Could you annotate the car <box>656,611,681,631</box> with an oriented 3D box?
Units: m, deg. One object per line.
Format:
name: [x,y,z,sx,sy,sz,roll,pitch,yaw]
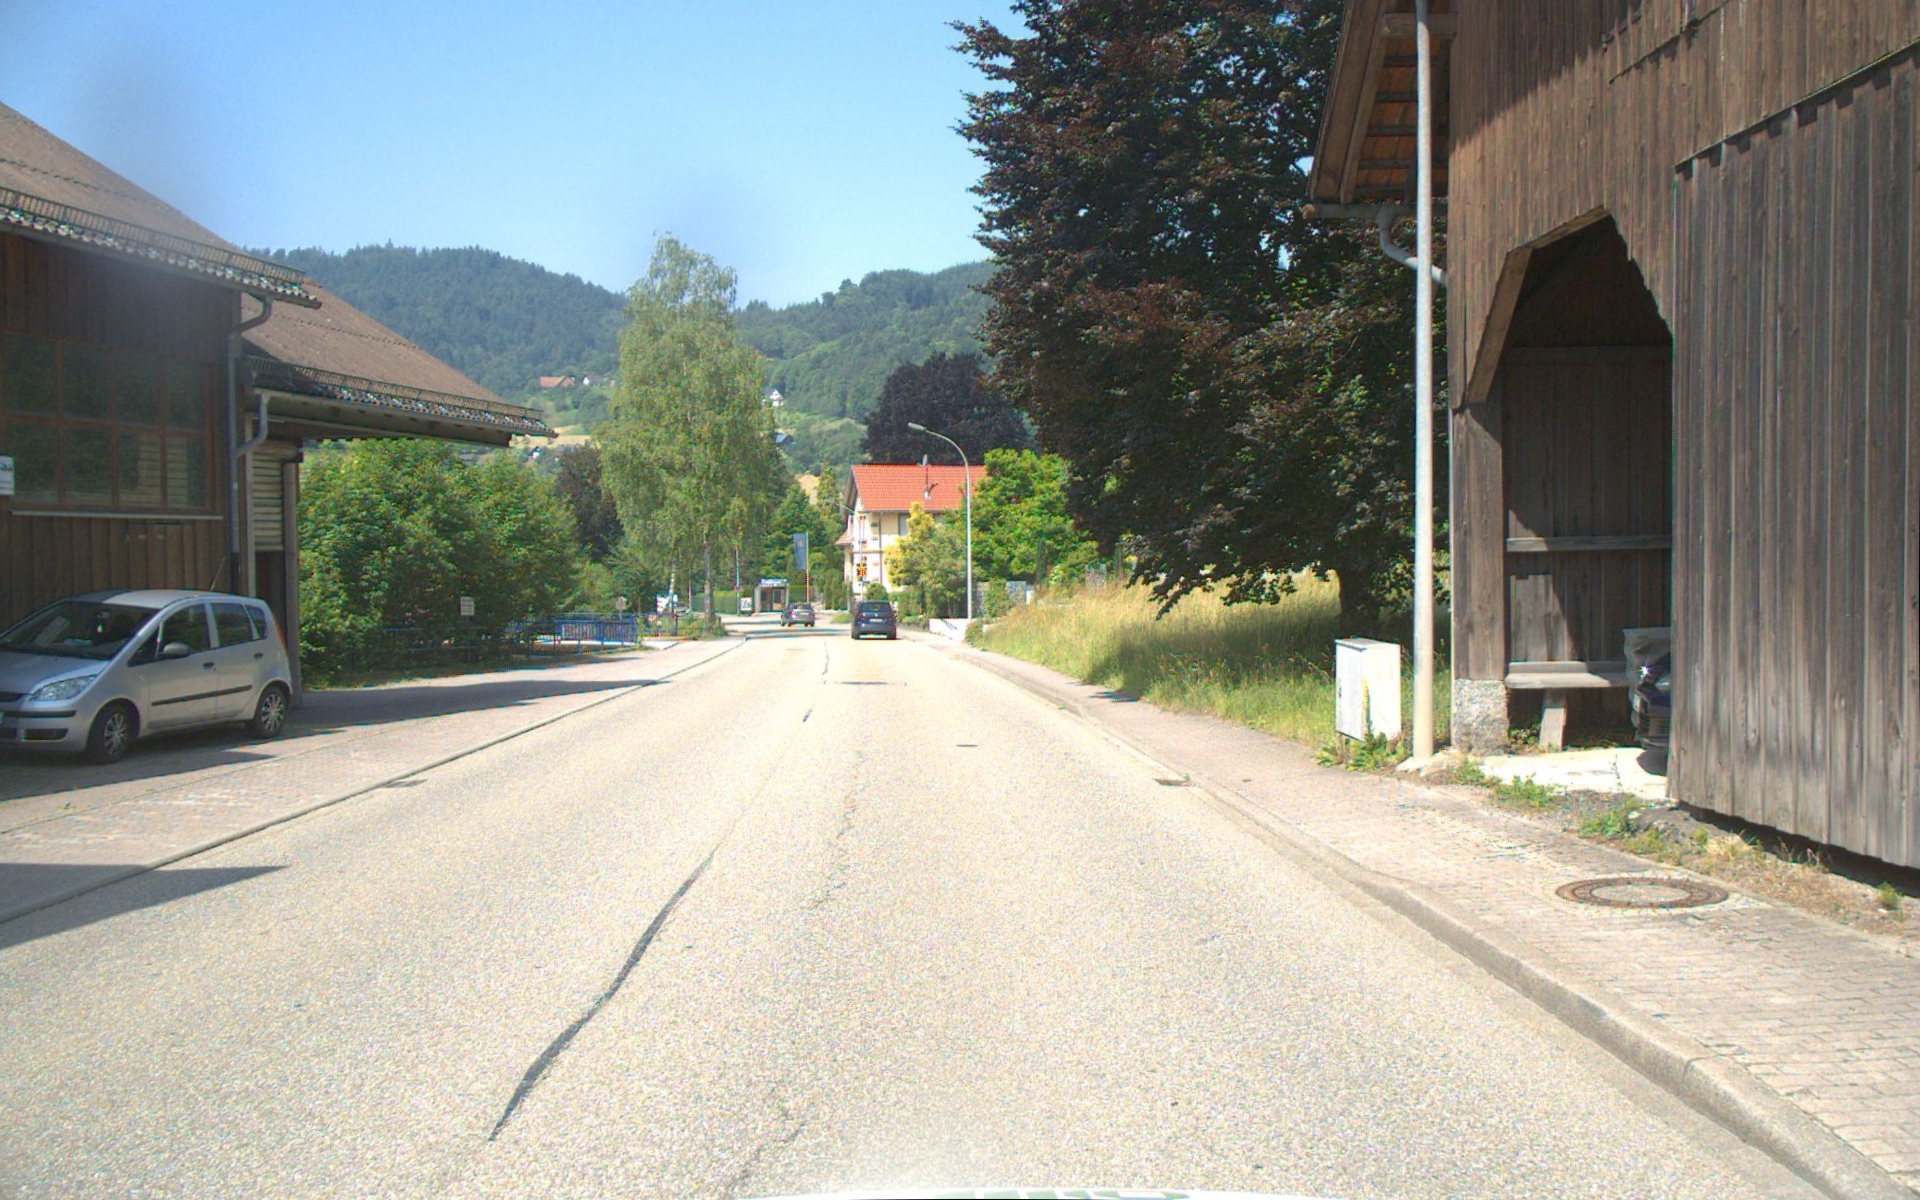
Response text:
car: [-24.205,1.738,137.350,1.782,1.527,4.135,-2,0,-13]

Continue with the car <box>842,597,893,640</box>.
car: [-3.971,0.768,70.214,1.883,1.728,3.782,-2,0,-7]

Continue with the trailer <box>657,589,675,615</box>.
trailer: [-25.191,0.181,141.653,1.441,2.114,3.660,-2,0,-11]

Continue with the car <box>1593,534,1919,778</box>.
car: [6.569,0.327,11.423,3.902,1.534,1.872,-2,2,16]

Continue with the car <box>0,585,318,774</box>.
car: [-8.353,0.679,16.676,1.547,1.597,4.026,3,1,11]

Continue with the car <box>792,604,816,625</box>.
car: [-9.863,0.914,104.849,1.448,1.230,2.381,-2,0,-5]
